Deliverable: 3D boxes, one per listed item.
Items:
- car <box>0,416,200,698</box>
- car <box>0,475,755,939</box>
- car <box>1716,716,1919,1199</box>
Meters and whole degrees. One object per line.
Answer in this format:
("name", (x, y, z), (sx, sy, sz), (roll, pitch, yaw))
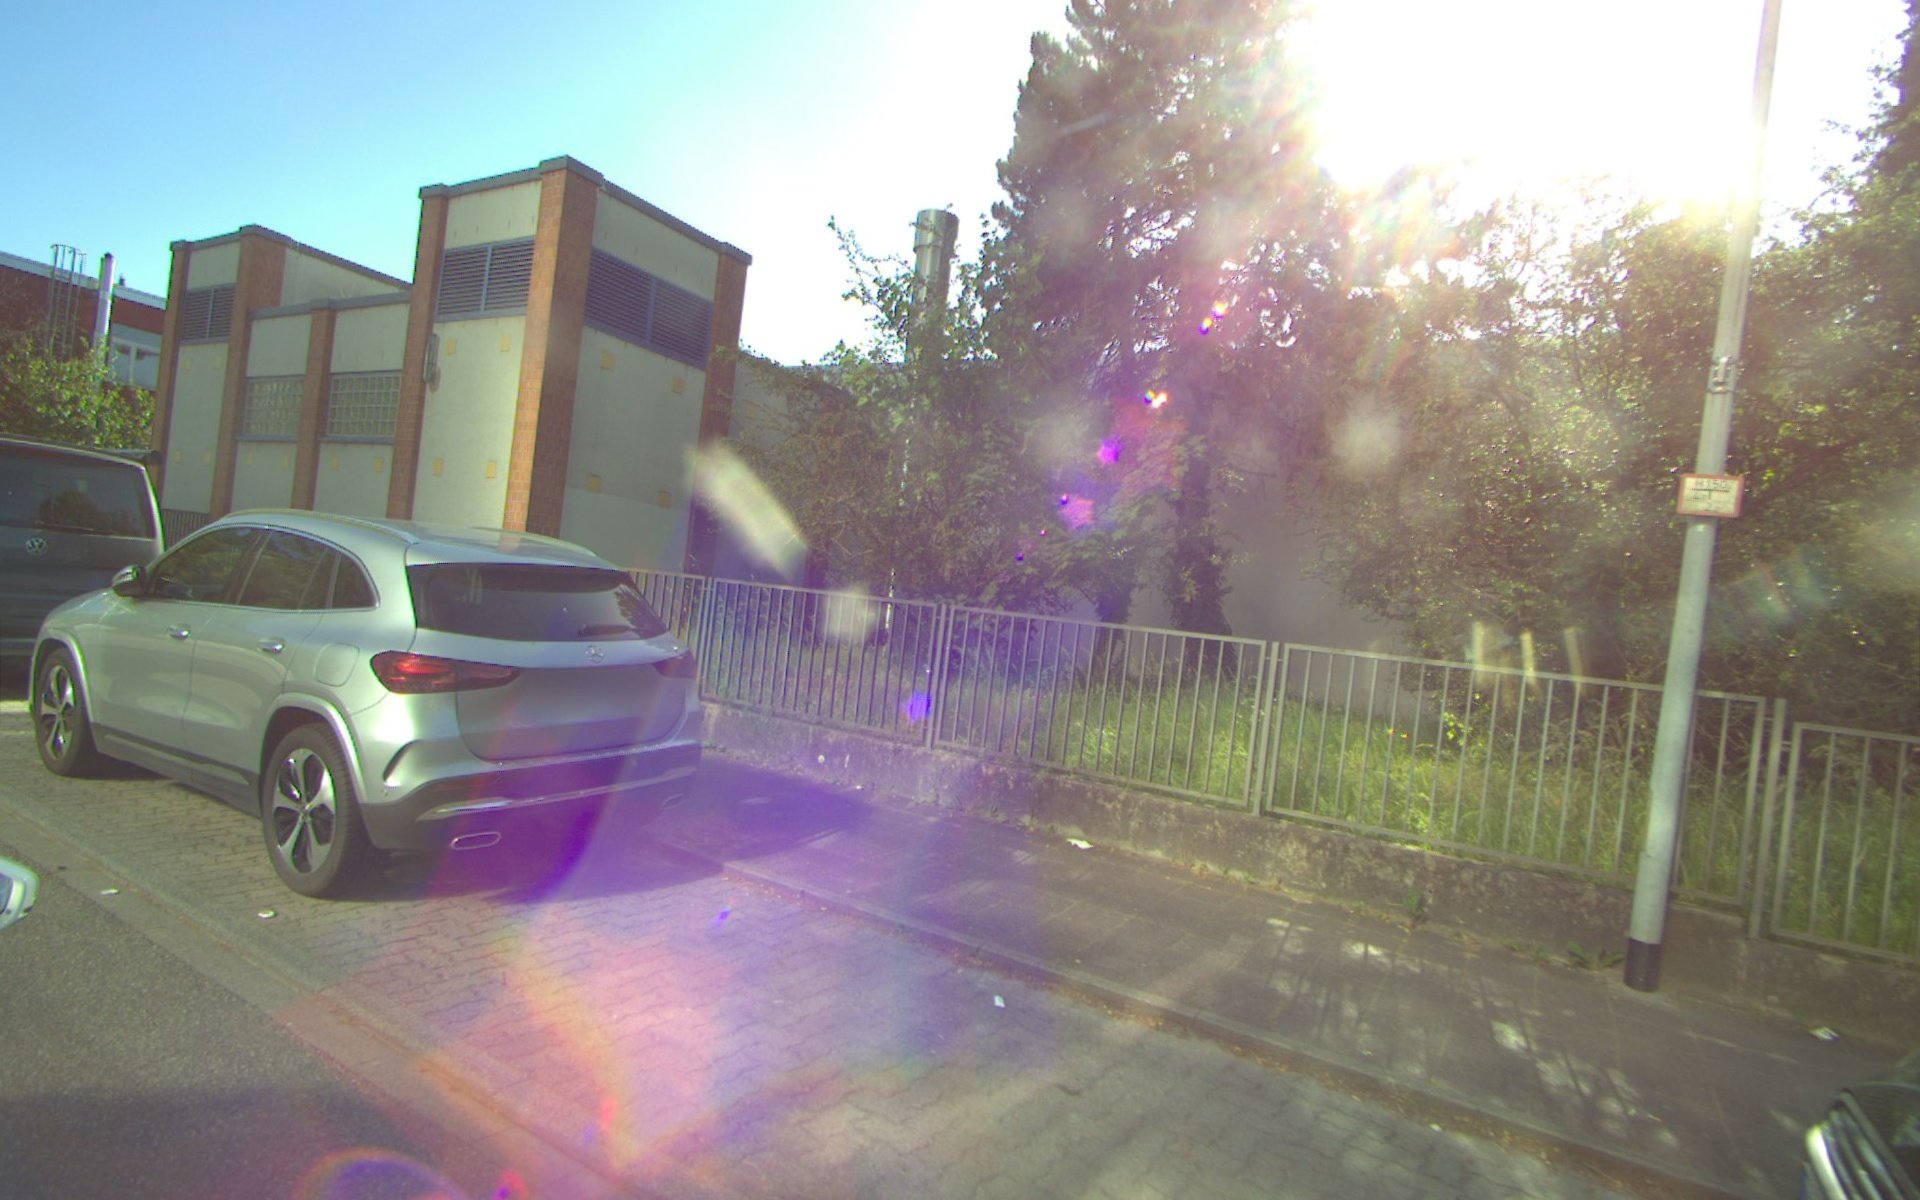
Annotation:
("car", (-8.889, -0.493, 8.752), (4.746, 2.047, 1.945), (6, 0, 32))
("car", (-3.408, 0.318, 5.631), (4.222, 1.650, 1.827), (6, 0, 32))
("car", (3.288, 1.167, 1.074), (3.701, 1.491, 1.653), (6, 0, 31))
